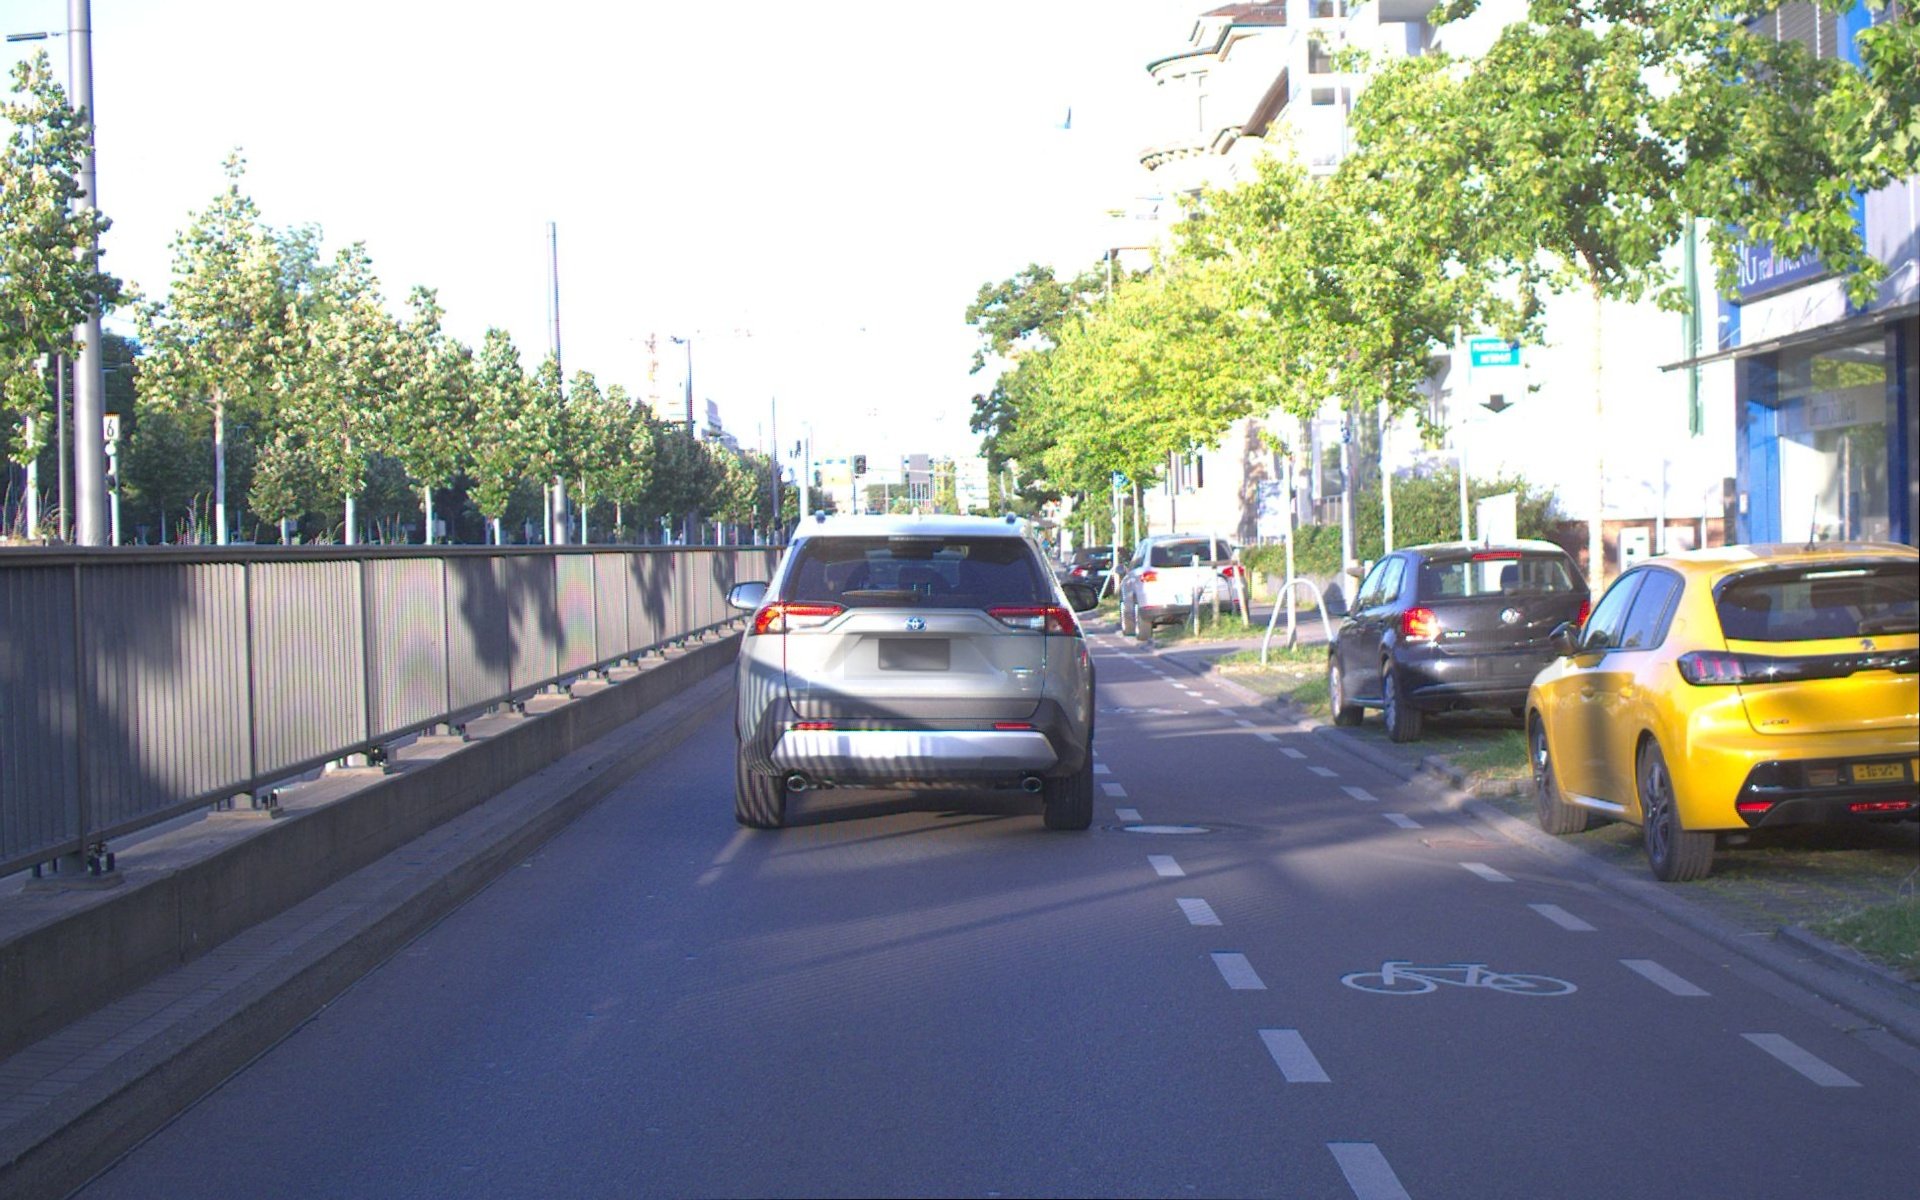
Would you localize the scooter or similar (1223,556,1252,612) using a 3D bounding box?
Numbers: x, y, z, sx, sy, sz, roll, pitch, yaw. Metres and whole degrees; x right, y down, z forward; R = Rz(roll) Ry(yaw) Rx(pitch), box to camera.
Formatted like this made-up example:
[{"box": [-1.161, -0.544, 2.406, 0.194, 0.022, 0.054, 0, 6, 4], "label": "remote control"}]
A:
[{"box": [6.221, -0.361, 77.080, 0.490, 1.254, 1.208, 0, 0, -4], "label": "scooter or similar"}]

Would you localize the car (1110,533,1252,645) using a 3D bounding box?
[{"box": [3.547, -0.205, 55.855, 1.854, 1.701, 4.254, -1, 1, -2], "label": "car"}]

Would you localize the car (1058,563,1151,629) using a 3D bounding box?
[{"box": [3.564, -0.125, 85.310, 1.792, 1.466, 4.446, -4, 1, -3], "label": "car"}]

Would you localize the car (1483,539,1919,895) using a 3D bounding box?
[{"box": [3.764, 0.463, 16.502, 1.683, 1.449, 4.130, -2, 1, -2], "label": "car"}]

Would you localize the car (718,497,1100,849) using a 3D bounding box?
[{"box": [-0.327, 0.342, 19.012, 1.857, 1.708, 4.193, 1, 0, -2], "label": "car"}]

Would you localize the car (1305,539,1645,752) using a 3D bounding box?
[{"box": [3.886, 0.303, 26.586, 1.819, 1.449, 4.129, -2, 1, -2], "label": "car"}]
